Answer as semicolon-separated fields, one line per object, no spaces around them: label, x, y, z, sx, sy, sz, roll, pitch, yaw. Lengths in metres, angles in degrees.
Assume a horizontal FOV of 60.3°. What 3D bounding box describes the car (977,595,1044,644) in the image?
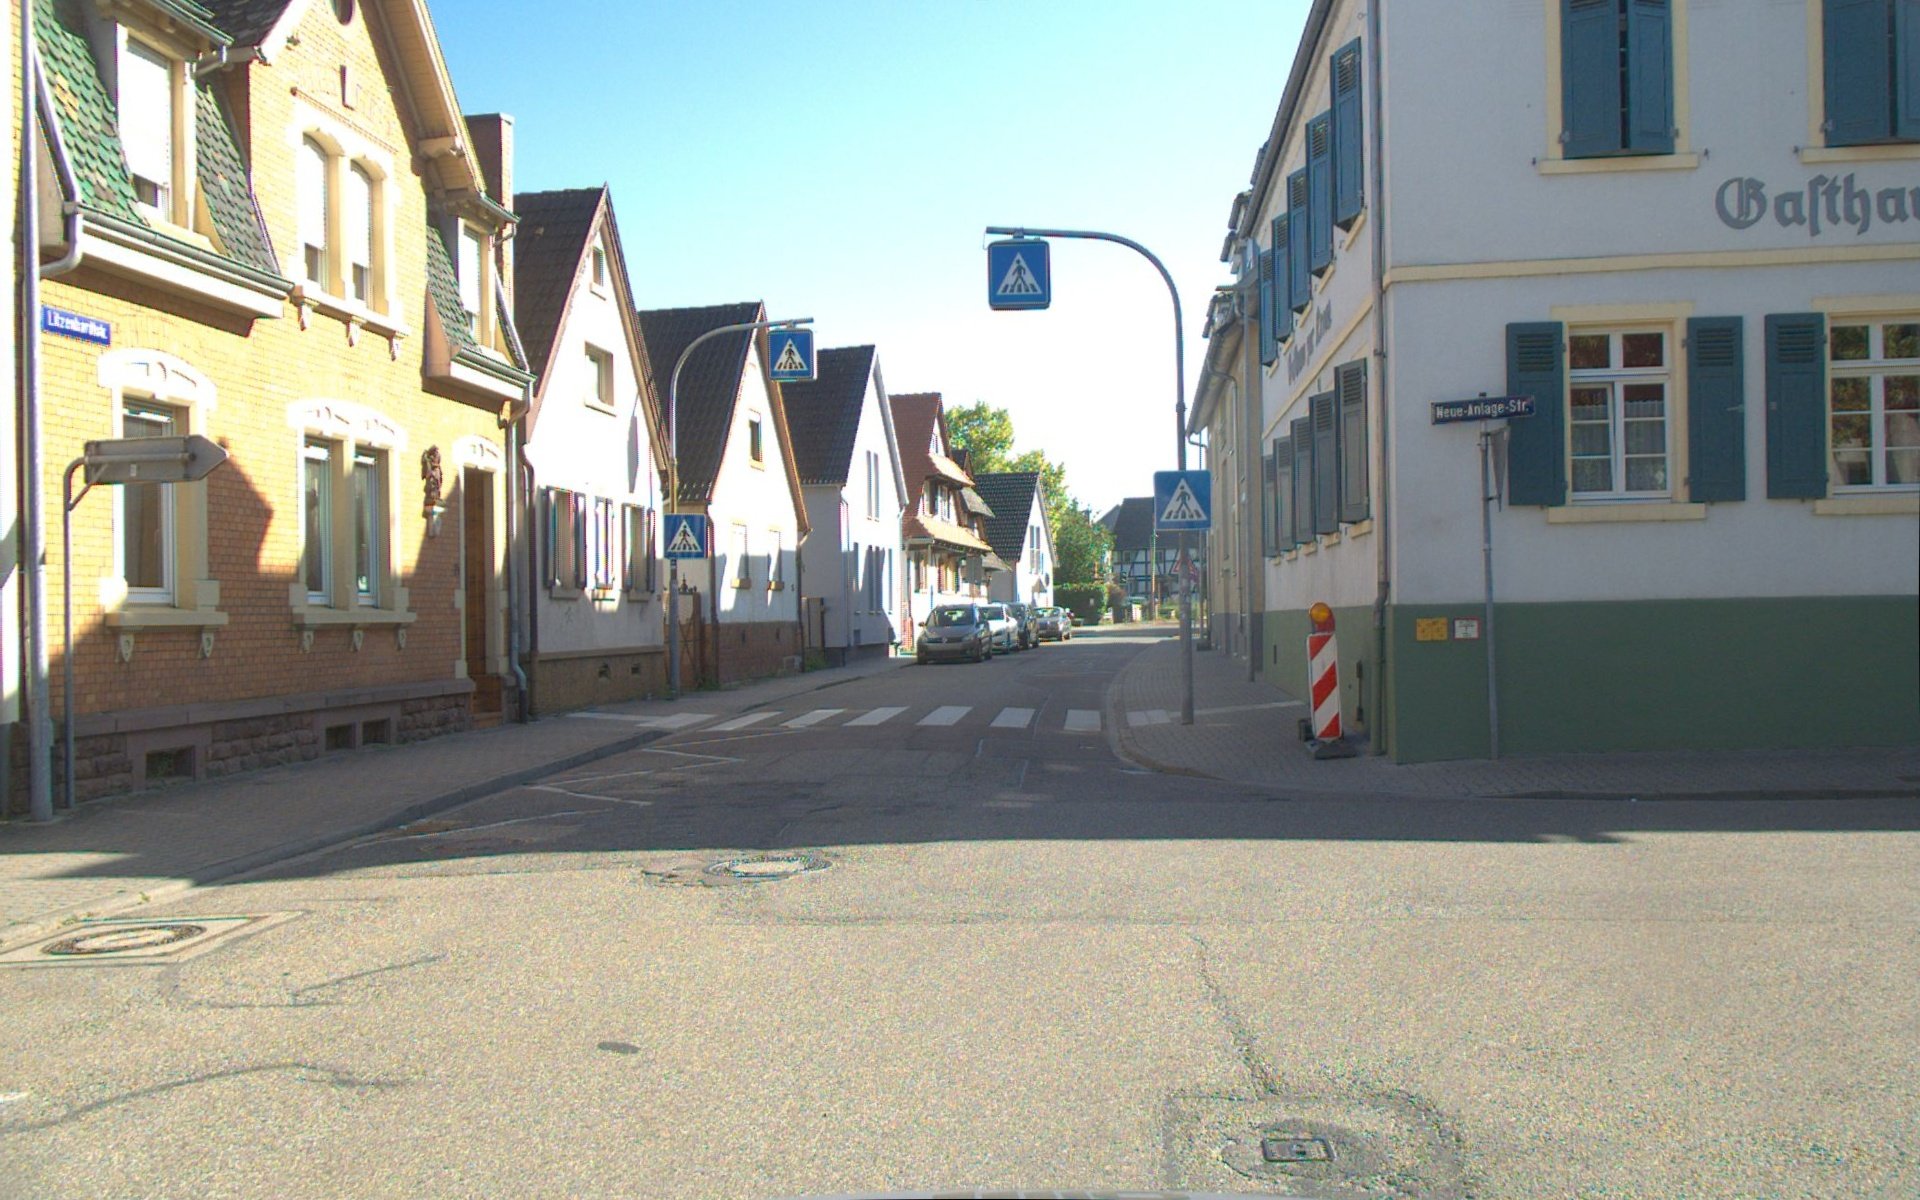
car;1.814;0.668;58.407;1.745;1.633;4.365;-2;0;10

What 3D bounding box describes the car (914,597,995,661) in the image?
car;-0.105;0.783;45.844;1.705;1.642;4.003;-2;-1;7

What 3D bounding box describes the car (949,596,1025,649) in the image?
car;0.916;0.715;52.878;1.777;1.594;4.171;-2;-1;10

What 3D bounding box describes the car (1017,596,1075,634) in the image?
car;3.673;0.626;69.707;1.805;1.431;5.041;-3;-1;10

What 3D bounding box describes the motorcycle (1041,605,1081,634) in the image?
motorcycle;4.473;0.861;73.322;0.620;1.253;1.969;-2;0;-35
